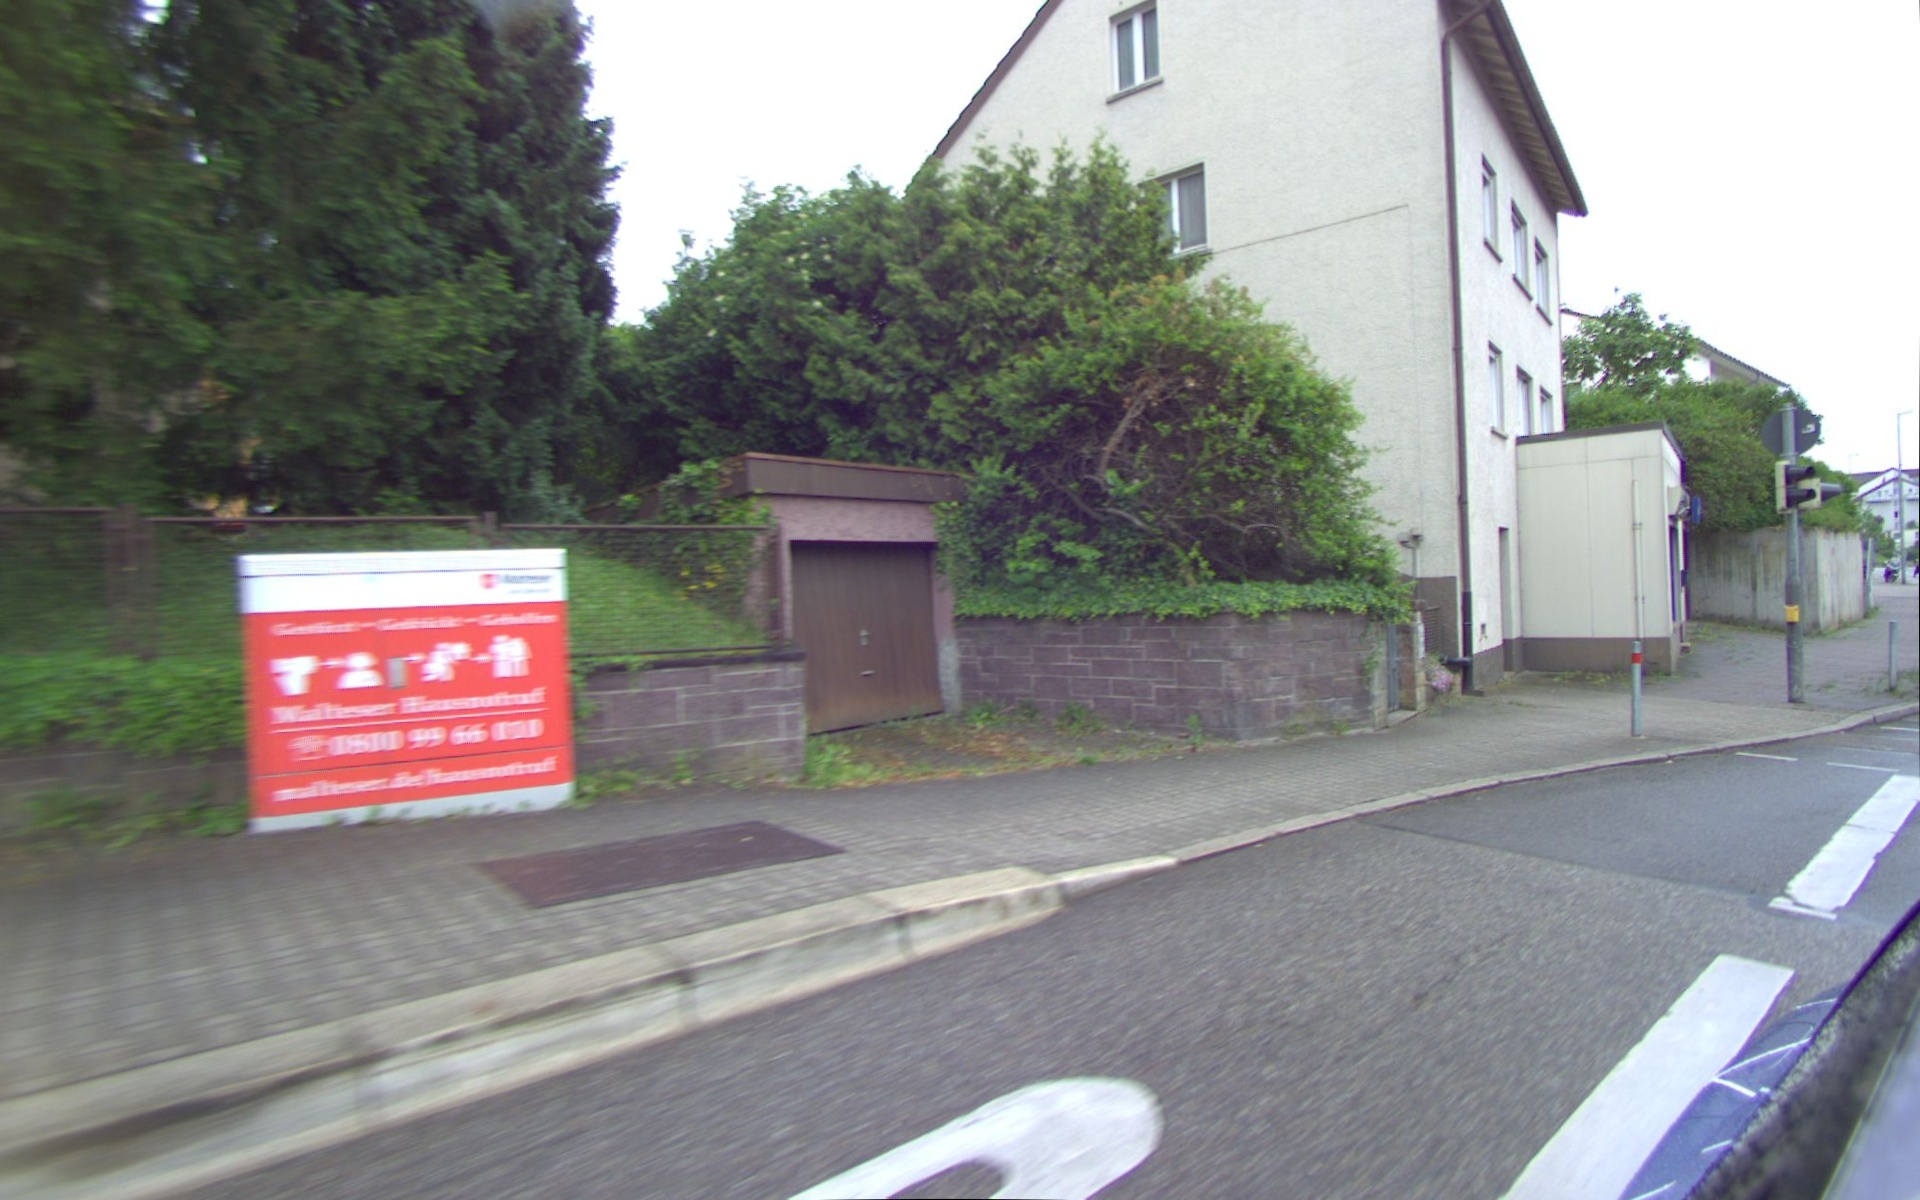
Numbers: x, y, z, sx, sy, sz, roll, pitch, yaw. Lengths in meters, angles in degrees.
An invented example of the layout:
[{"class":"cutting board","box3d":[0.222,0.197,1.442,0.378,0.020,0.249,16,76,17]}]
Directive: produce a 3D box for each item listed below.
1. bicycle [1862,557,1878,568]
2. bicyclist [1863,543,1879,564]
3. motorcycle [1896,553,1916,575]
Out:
[{"class":"bicycle","box3d":[73.209,-3.030,81.397,2.196,0.836,0.732,-2,2,-41]},{"class":"bicyclist","box3d":[73.208,-3.737,81.329,0.891,1.662,0.809,-3,2,-41]},{"class":"motorcycle","box3d":[59.120,-2.266,63.243,0.691,1.341,2.446,0,3,38]}]
